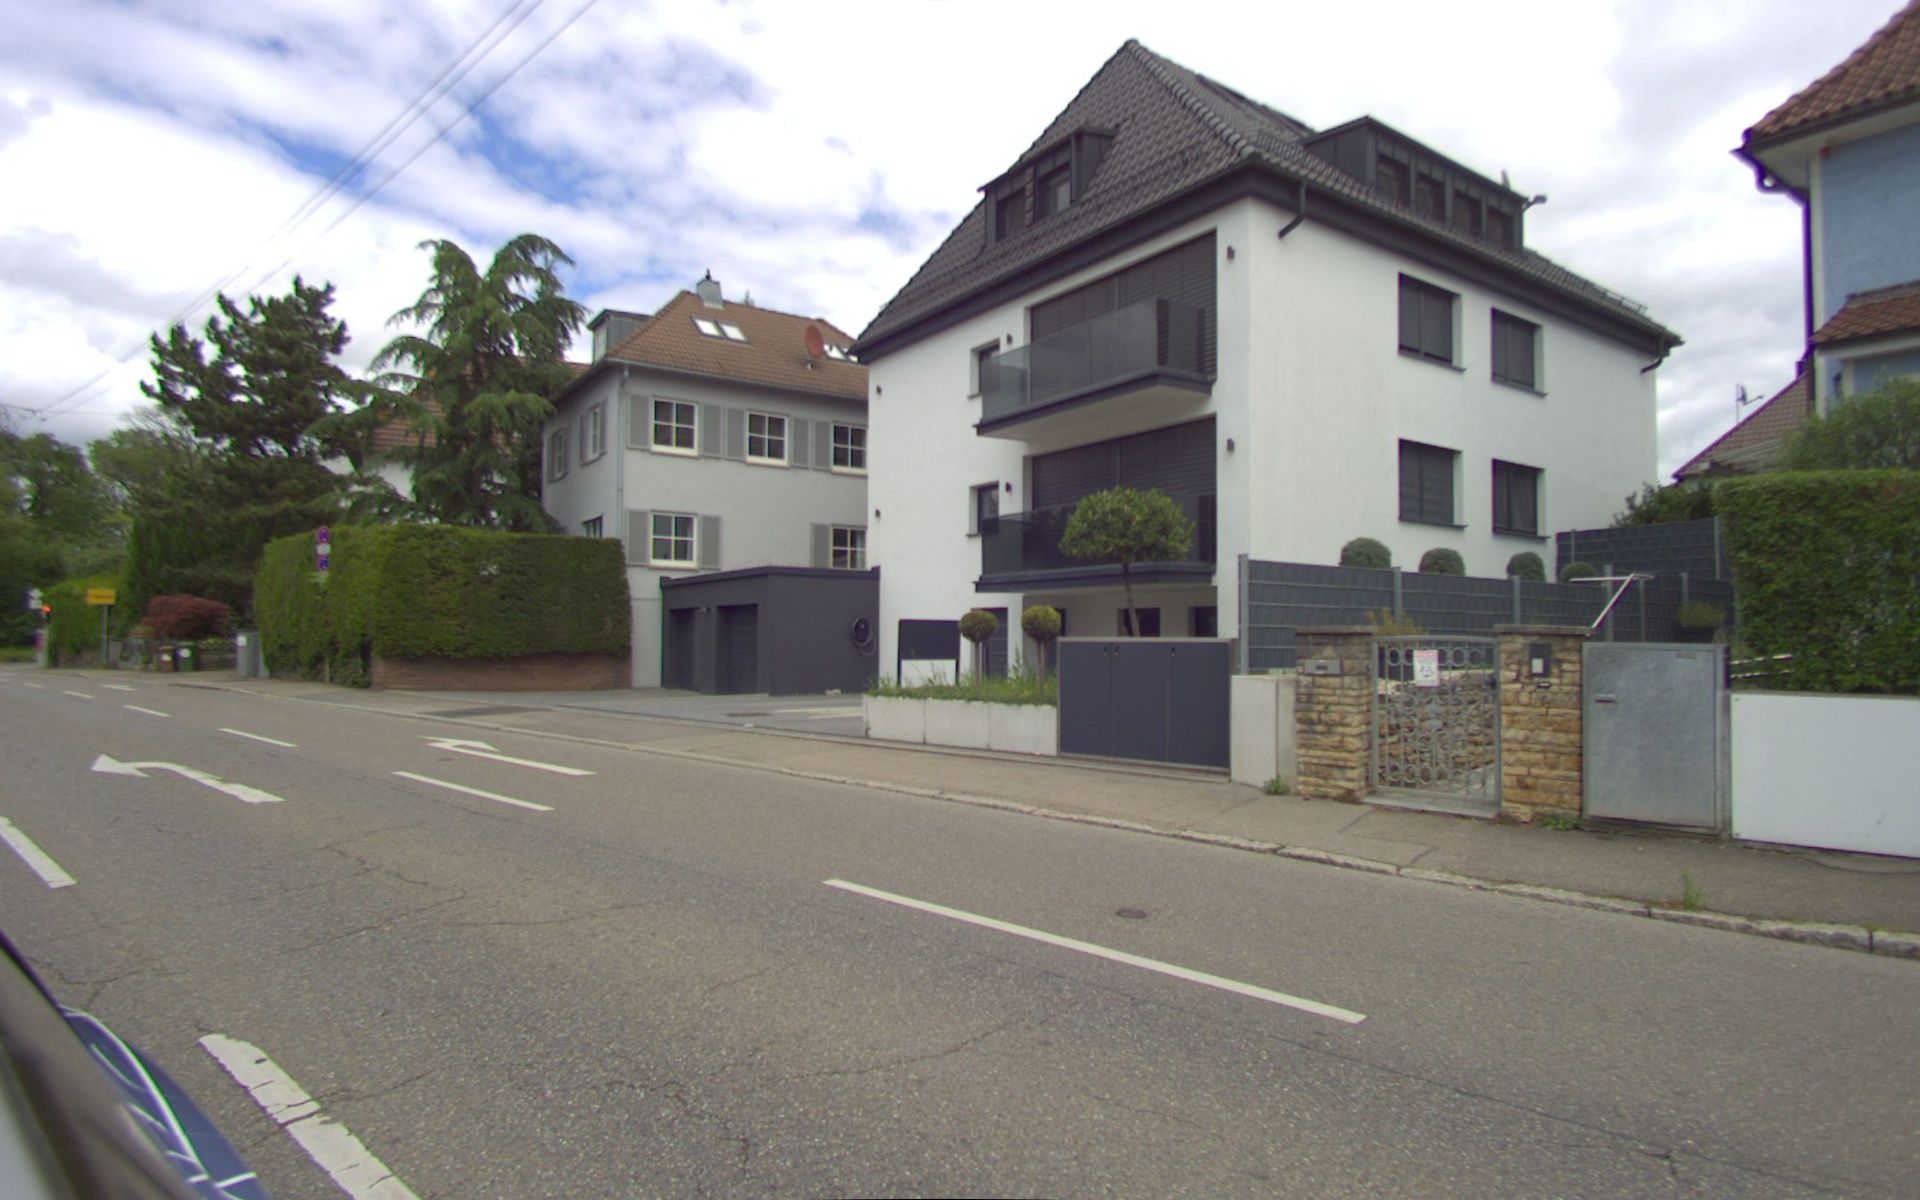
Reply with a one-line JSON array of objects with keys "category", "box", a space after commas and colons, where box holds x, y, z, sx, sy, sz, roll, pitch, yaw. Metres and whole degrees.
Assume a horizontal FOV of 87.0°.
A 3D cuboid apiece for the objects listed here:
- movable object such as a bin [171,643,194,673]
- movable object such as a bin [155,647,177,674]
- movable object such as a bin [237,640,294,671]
[{"category": "movable object such as a bin", "box": [-27.872, 2.077, 36.275, 0.472, 1.042, 0.718, 0, -2, -21]}, {"category": "movable object such as a bin", "box": [-28.340, 2.149, 36.117, 0.457, 0.949, 0.649, 0, -2, -21]}, {"category": "movable object such as a bin", "box": [-25.367, 2.026, 36.985, 1.570, 1.089, 0.719, -1, -2, -18]}]
